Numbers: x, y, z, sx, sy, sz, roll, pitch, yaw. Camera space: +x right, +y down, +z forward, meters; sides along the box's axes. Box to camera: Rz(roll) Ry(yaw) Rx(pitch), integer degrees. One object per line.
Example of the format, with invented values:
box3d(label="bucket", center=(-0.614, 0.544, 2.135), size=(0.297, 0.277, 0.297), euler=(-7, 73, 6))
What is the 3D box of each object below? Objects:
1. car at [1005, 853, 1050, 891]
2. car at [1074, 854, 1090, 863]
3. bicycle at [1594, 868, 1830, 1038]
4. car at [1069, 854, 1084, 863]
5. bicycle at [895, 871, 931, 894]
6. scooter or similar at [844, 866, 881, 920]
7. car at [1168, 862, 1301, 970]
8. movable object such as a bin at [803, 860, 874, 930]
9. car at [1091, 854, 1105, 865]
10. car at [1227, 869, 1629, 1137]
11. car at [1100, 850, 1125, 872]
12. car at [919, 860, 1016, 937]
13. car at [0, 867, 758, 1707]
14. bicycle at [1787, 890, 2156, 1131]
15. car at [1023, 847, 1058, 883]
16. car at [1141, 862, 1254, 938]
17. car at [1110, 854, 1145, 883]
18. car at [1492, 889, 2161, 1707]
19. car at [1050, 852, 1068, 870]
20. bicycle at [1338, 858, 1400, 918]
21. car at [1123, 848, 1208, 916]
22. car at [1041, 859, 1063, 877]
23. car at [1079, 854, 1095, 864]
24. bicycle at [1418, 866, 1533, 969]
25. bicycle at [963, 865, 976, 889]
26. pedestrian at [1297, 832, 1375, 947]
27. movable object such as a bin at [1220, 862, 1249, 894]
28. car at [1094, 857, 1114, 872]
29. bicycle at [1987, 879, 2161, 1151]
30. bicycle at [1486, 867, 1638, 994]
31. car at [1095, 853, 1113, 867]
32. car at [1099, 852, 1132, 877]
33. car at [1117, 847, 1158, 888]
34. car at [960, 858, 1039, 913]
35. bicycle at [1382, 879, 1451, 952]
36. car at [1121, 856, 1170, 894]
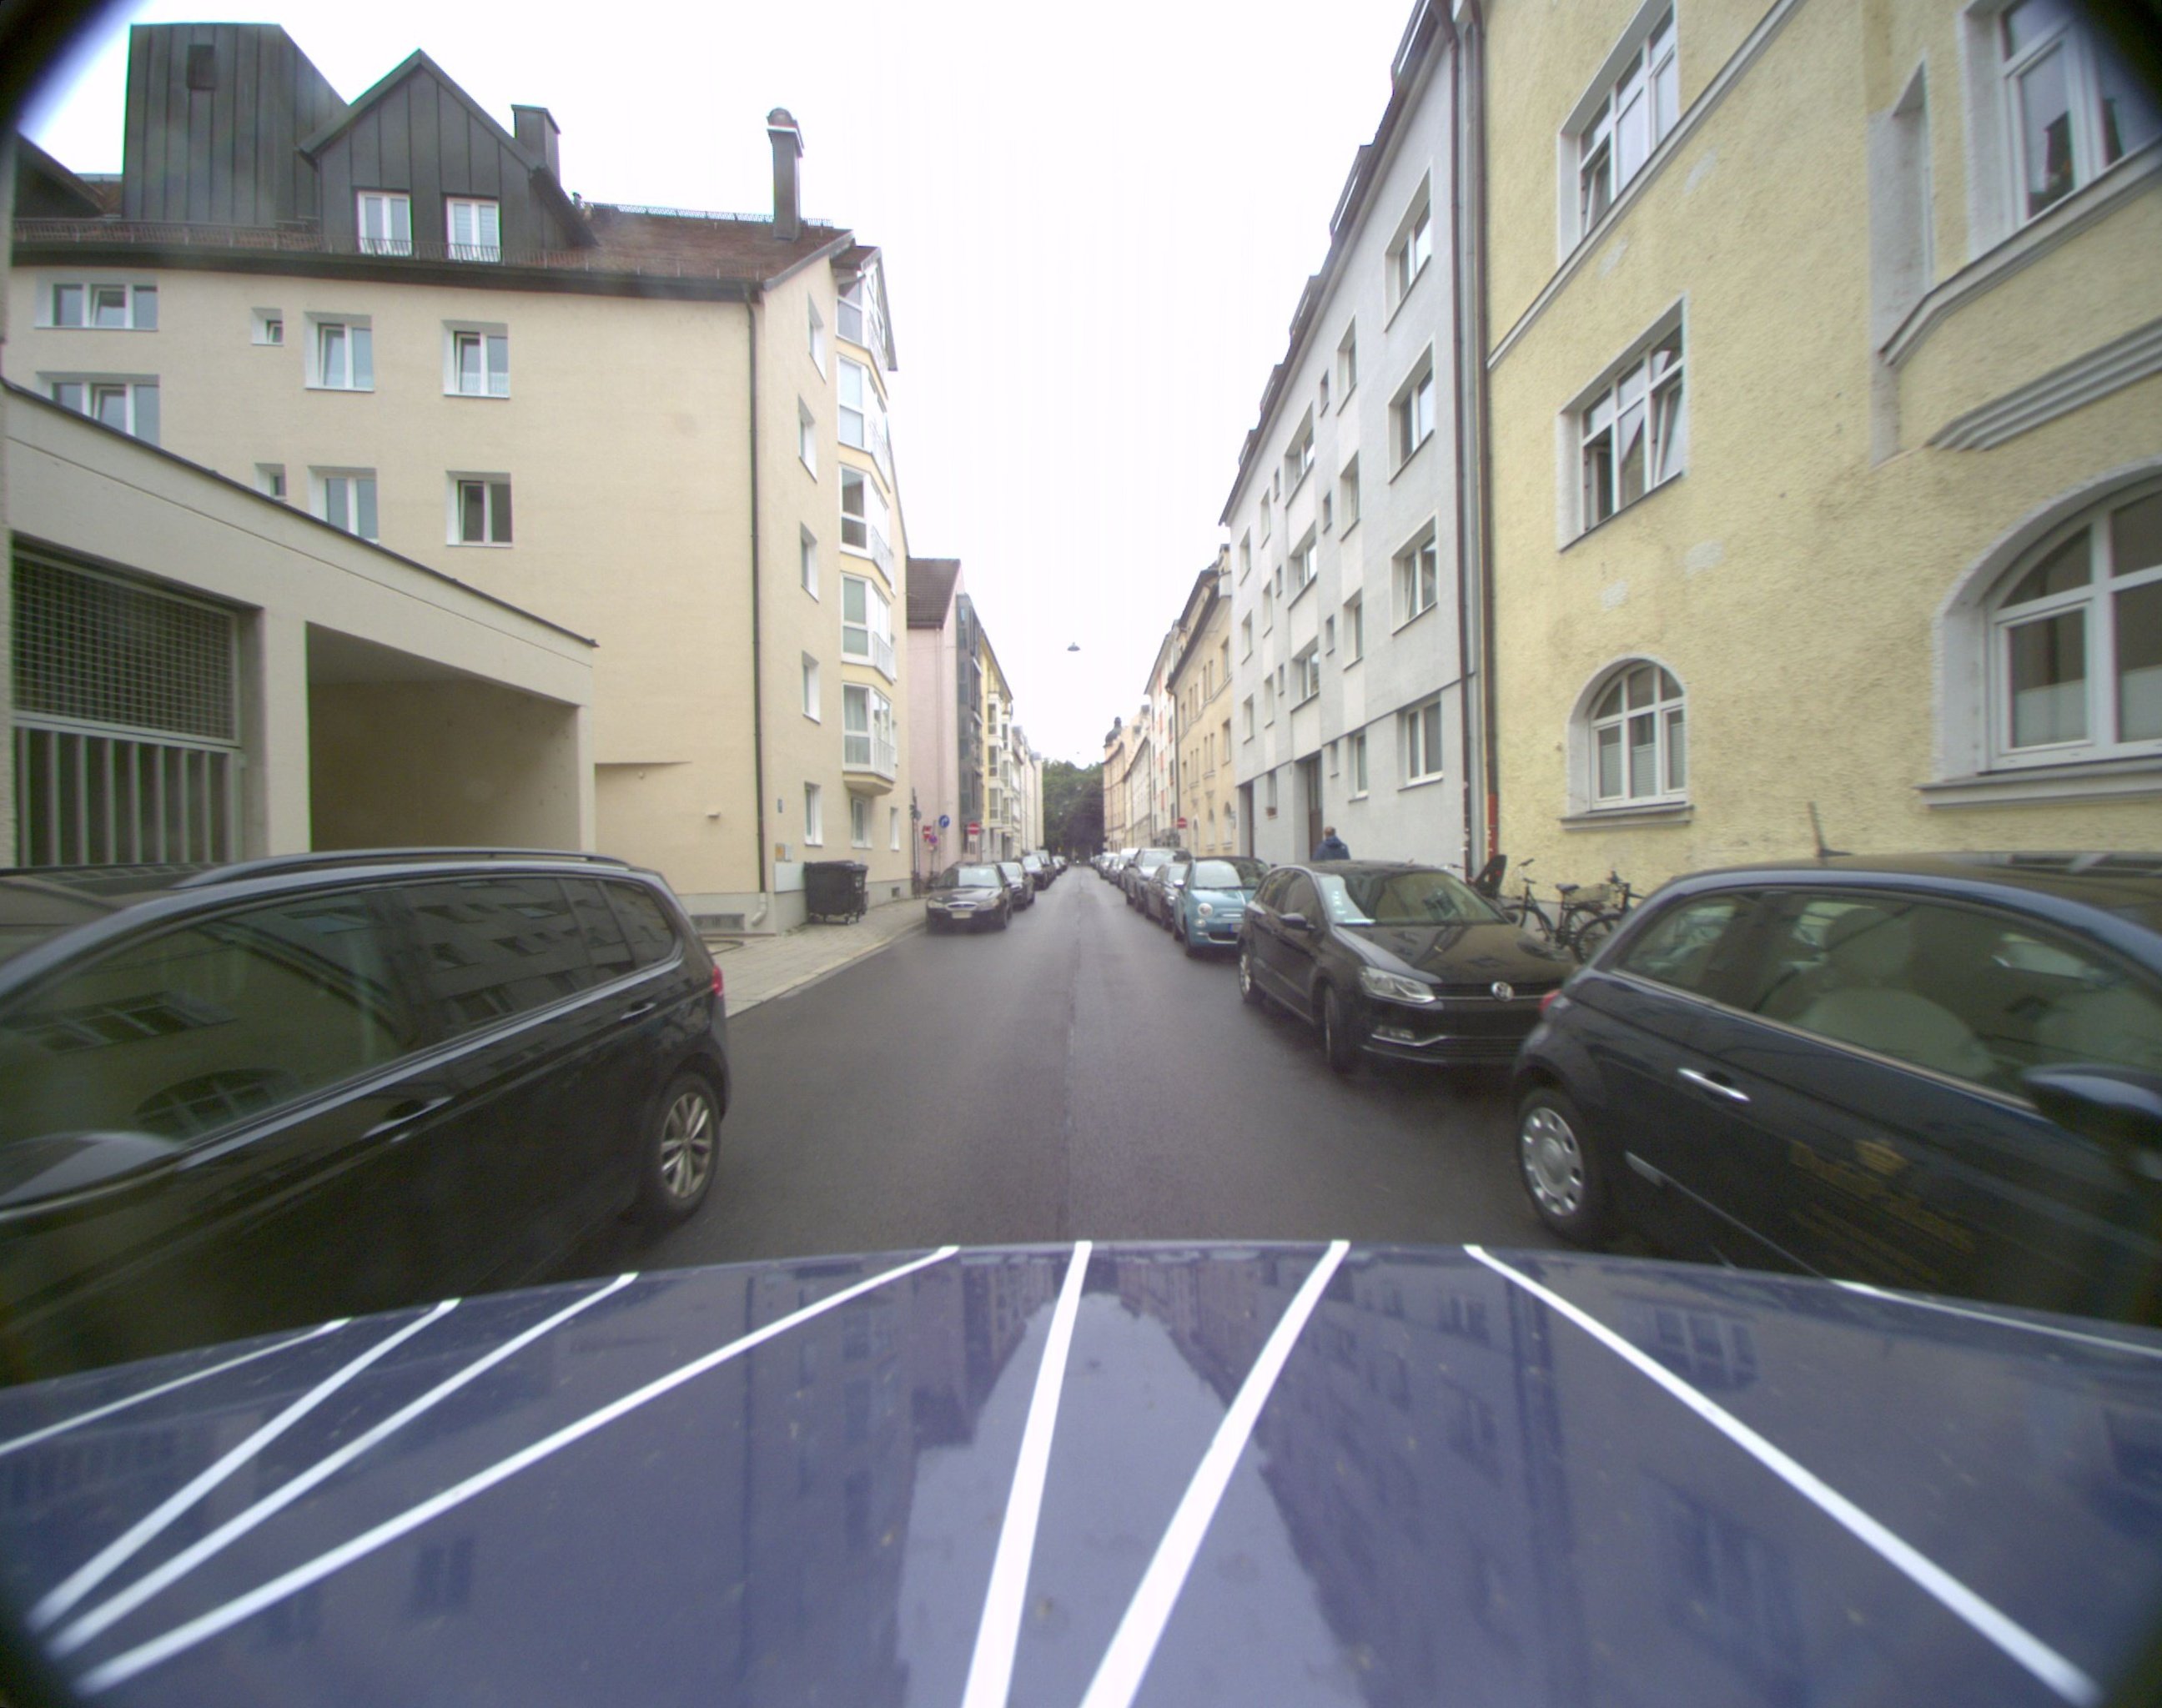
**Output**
box3d(label="car", center=(-2.515, 0.834, 36.641), size=(1.837, 1.612, 4.410), euler=(-2, 1, -1))
box3d(label="car", center=(0.156, 0.704, 123.363), size=(1.800, 1.501, 3.996), euler=(1, 0, -11))
box3d(label="bicycle", center=(5.372, 0.766, 6.625), size=(0.594, 1.226, 1.736), euler=(-2, 1, 0))
box3d(label="car", center=(-0.721, 0.706, 127.456), size=(1.800, 1.501, 3.996), euler=(1, 0, -11))
box3d(label="bicycle", center=(-7.293, 1.234, 32.963), size=(1.452, 0.942, 0.552), euler=(-1, 0, -4))
box3d(label="scooter or similar", center=(-5.373, 0.947, 18.723), size=(0.577, 1.259, 1.136), euler=(1, 1, 0))
box3d(label="car", center=(2.333, 0.889, 12.298), size=(1.566, 1.452, 3.404), euler=(0, 0, 2))
box3d(label="movable object such as a bin", center=(-5.261, 0.863, 16.612), size=(1.035, 1.415, 1.586), euler=(1, 1, 0))
box3d(label="car", center=(2.469, 0.786, 109.591), size=(1.951, 1.470, 3.979), euler=(1, 0, 0))
box3d(label="car", center=(2.378, 0.903, 6.289), size=(1.567, 1.452, 3.763), euler=(0, 0, -1))
box3d(label="car", center=(2.693, 0.589, 65.581), size=(1.951, 1.850, 4.908), euler=(1, 0, 0))
box3d(label="car", center=(-2.529, 0.932, 17.893), size=(1.721, 1.463, 4.530), euler=(-2, 1, -2))
box3d(label="car", center=(-2.566, 0.920, 1.732), size=(1.716, 1.599, 4.244), euler=(-2, 1, 1))
box3d(label="bicycle", center=(5.518, 0.877, 4.875), size=(0.440, 1.183, 1.632), euler=(-2, 1, 0))
box3d(label="car", center=(-2.495, 0.631, 47.379), size=(1.878, 2.002, 5.105), euler=(-2, 1, -1))
box3d(label="car", center=(2.477, 0.939, 17.162), size=(1.816, 1.378, 4.250), euler=(1, 1, -1))
box3d(label="car", center=(2.466, 0.774, 41.281), size=(1.676, 1.467, 4.112), euler=(1, 0, 1))
box3d(label="car", center=(2.479, 0.885, 1.488), size=(1.566, 1.452, 3.476), euler=(0, 0, 2))
box3d(label="car", center=(-2.282, 0.728, 80.509), size=(1.739, 1.743, 3.685), euler=(-2, 0, -1))
box3d(label="bicycle", center=(5.356, 0.613, 14.233), size=(0.546, 1.025, 1.570), euler=(-2, 1, 0))
box3d(label="car", center=(2.341, 0.706, 22.247), size=(1.867, 1.759, 4.734), euler=(1, 1, -1))
box3d(label="car", center=(-2.561, 1.157, 65.847), size=(1.750, 1.433, 4.227), euler=(-2, 0, -4))
box3d(label="car", center=(0.964, 0.743, 119.175), size=(1.800, 1.501, 3.996), euler=(1, 0, -11))
box3d(label="bicycle", center=(5.274, 0.804, 10.288), size=(0.638, 1.226, 1.736), euler=(-2, 1, 0))
box3d(label="bicycle", center=(-5.253, 1.066, 35.847), size=(0.358, 1.115, 1.543), euler=(-1, 0, 1))
box3d(label="pedestrian", center=(4.102, 0.552, 12.302), size=(0.841, 1.754, 1.067), euler=(-2, 1, 0))
box3d(label="movable object such as a bin", center=(5.437, 0.854, 26.979), size=(0.809, 1.045, 0.623), euler=(-5, 1, 0))
box3d(label="car", center=(2.406, 1.124, 80.779), size=(1.951, 1.470, 3.715), euler=(1, 0, 0))
box3d(label="bicycle", center=(5.343, 0.770, 3.357), size=(0.594, 1.226, 1.736), euler=(-2, 1, 0))
box3d(label="bicycle", center=(5.351, 0.795, 8.585), size=(0.594, 1.226, 1.736), euler=(-2, 1, 0))
box3d(label="car", center=(2.567, 0.667, 86.578), size=(1.951, 1.470, 3.715), euler=(1, 0, 0))
box3d(label="car", center=(2.283, 0.706, 51.017), size=(1.786, 1.595, 4.307), euler=(1, 0, -3))
box3d(label="car", center=(2.646, 0.571, 36.158), size=(1.728, 1.779, 4.248), euler=(1, 1, 2))
box3d(label="car", center=(-2.395, 0.900, 23.405), size=(1.837, 1.398, 4.411), euler=(-2, 1, 1))
box3d(label="bicycle", center=(5.367, 0.951, 12.238), size=(0.396, 1.025, 1.570), euler=(-2, 1, 0))
box3d(label="car", center=(2.558, 0.822, 30.876), size=(1.656, 1.403, 3.735), euler=(1, 0, 0))
